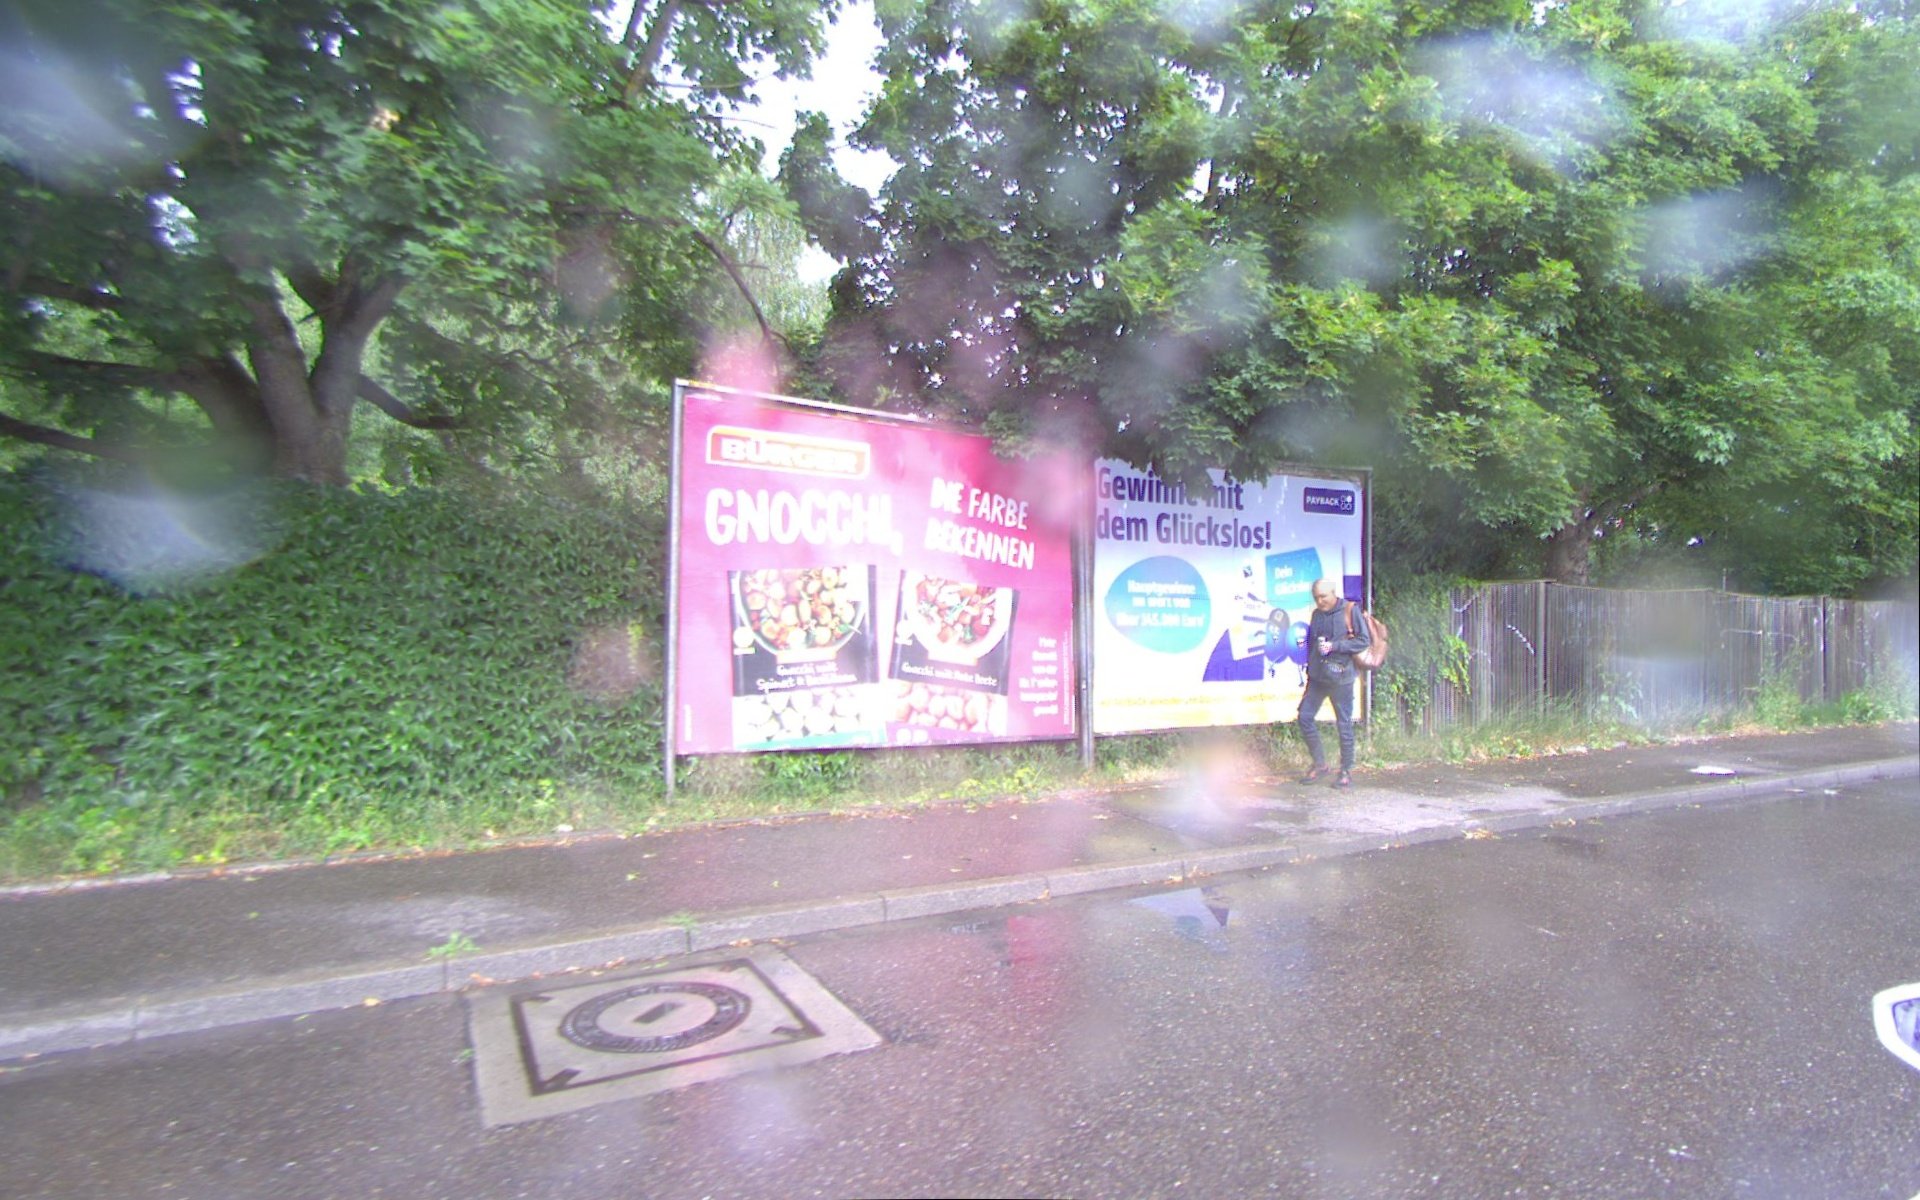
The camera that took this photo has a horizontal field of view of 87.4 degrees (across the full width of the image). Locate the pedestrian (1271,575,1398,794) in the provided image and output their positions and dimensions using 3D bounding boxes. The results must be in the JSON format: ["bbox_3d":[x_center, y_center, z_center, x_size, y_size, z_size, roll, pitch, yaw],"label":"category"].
[{"bbox_3d":[3.258,0.705,8.770,0.636,1.793,0.835,1,-1,-29],"label":"pedestrian"}]
